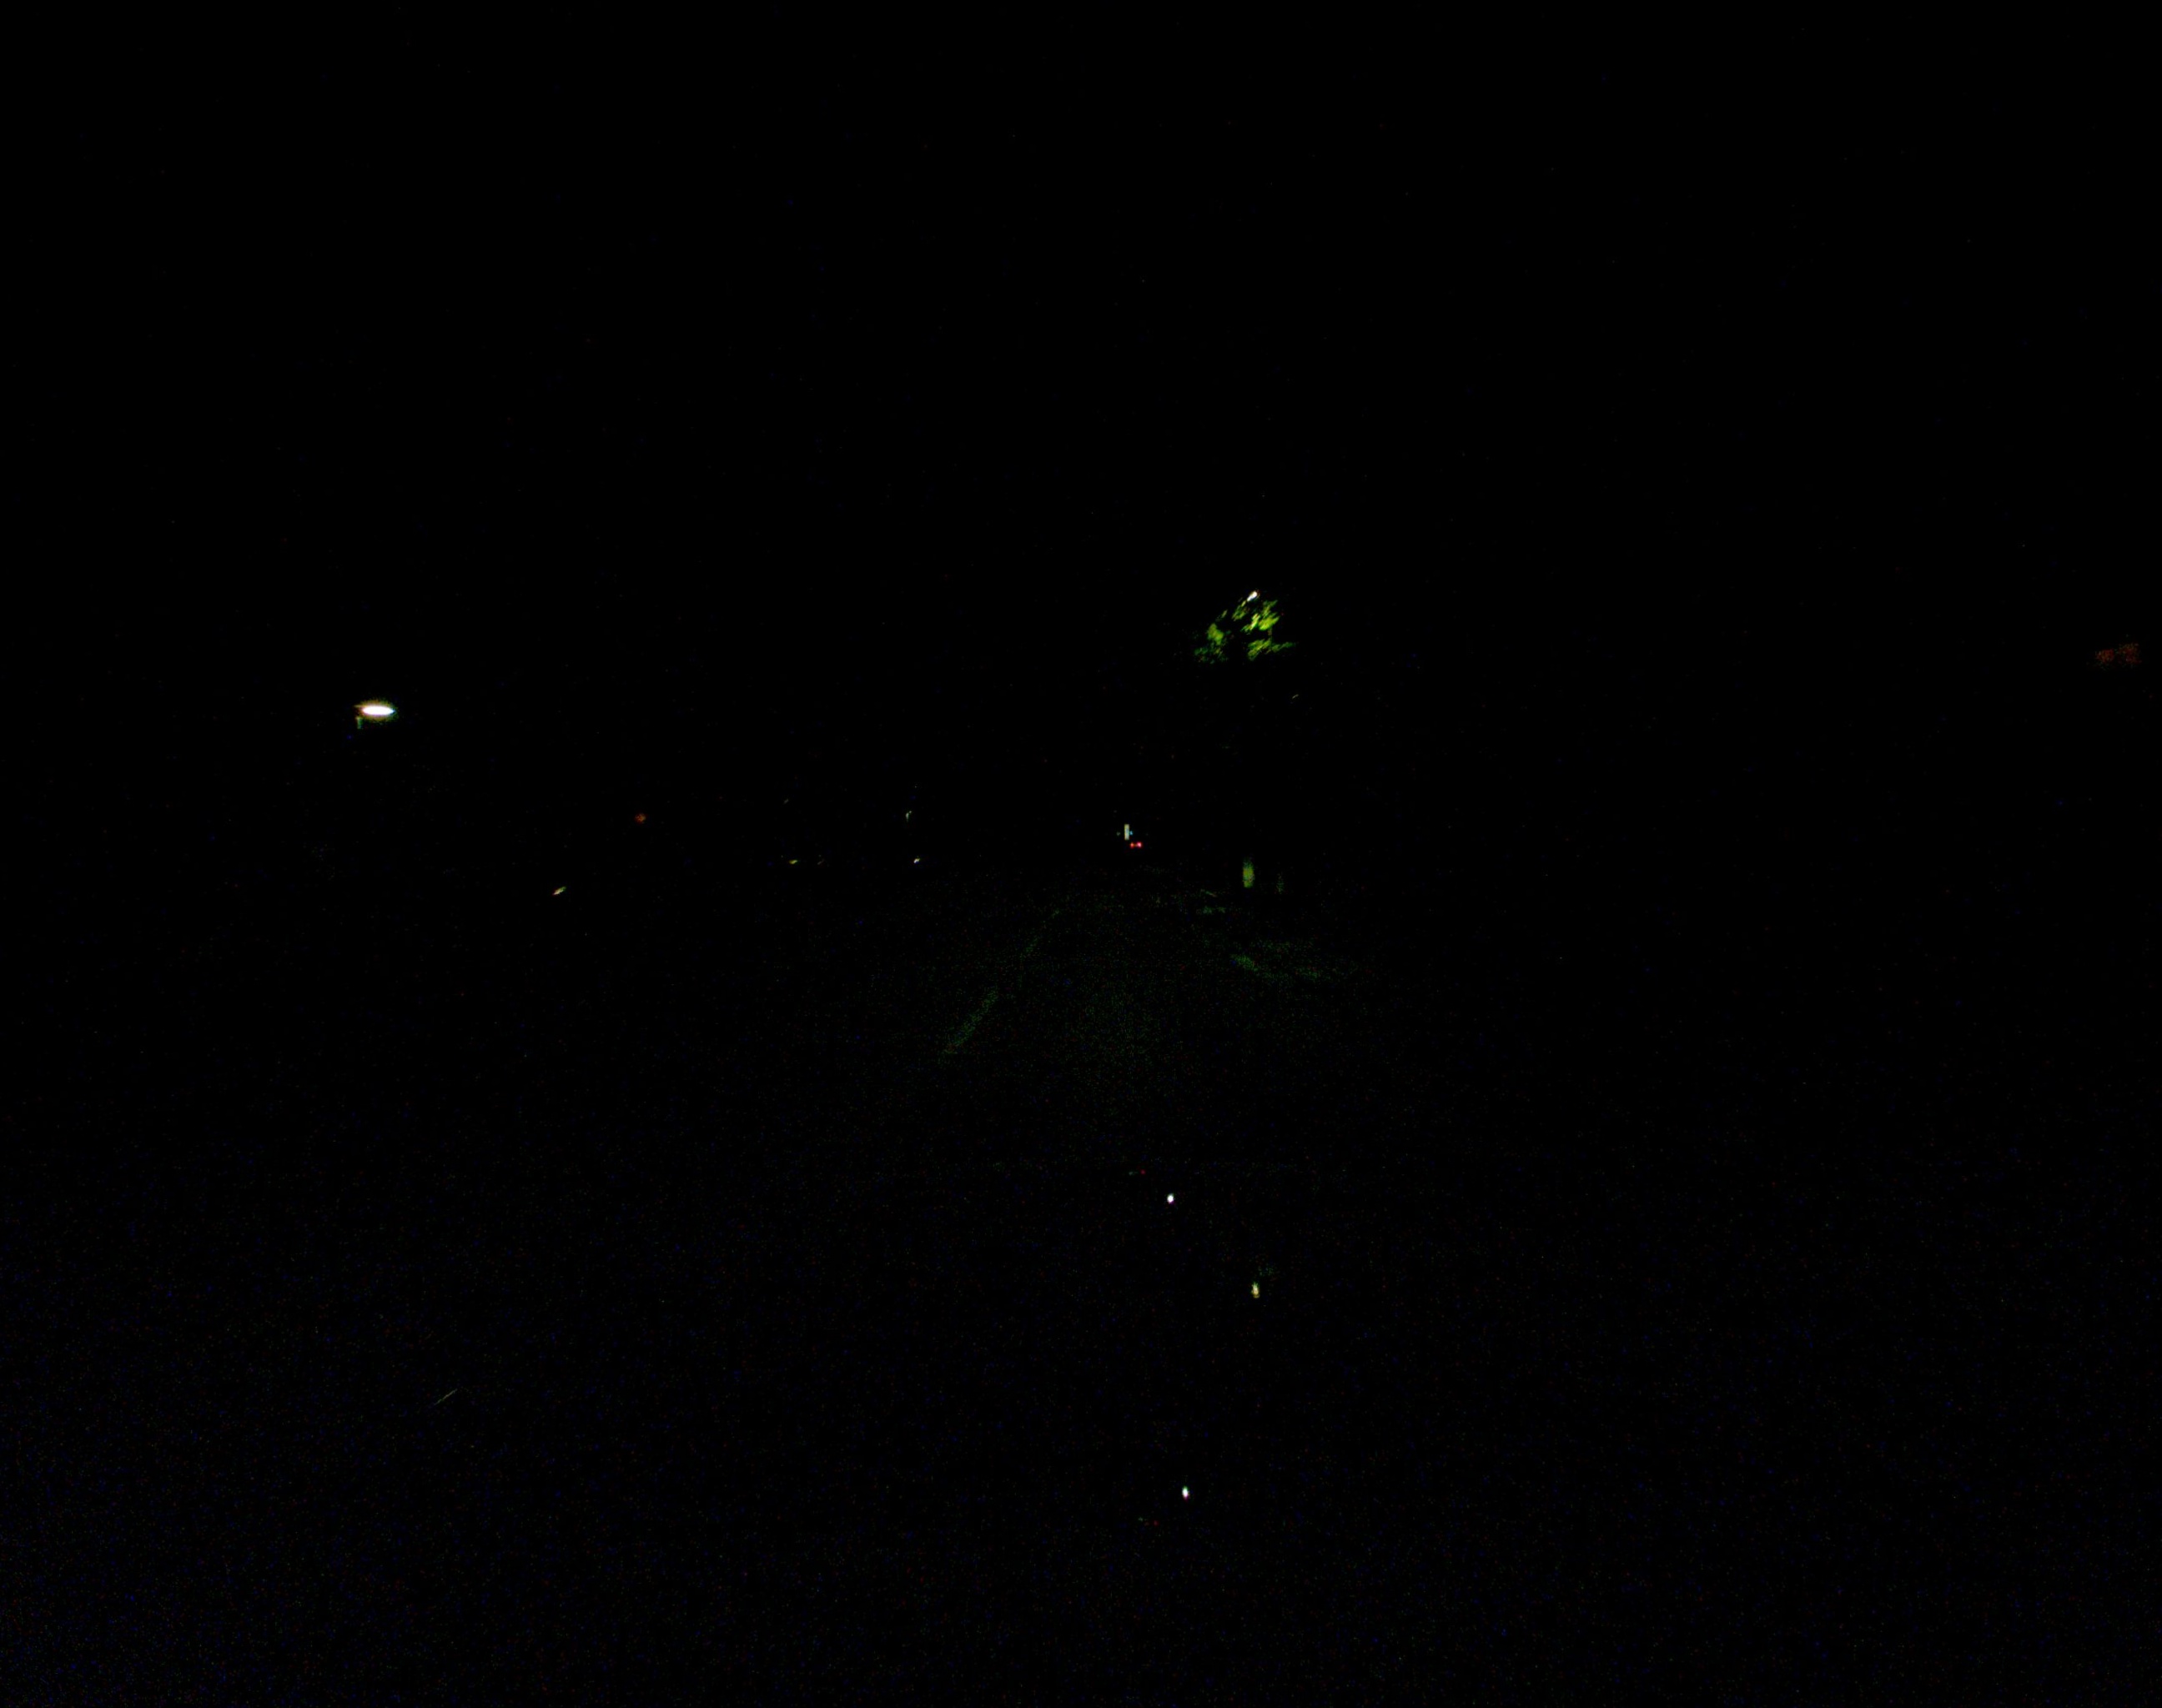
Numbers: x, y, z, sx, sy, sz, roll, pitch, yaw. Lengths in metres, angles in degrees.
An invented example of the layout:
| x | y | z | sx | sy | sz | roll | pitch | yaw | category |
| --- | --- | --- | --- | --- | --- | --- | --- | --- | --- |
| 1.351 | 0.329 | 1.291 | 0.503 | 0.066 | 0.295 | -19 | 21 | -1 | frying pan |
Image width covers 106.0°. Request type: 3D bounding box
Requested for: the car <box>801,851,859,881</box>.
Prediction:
| x | y | z | sx | sy | sz | roll | pitch | yaw | category |
| --- | --- | --- | --- | --- | --- | --- | --- | --- | --- |
| -14.428 | 0.668 | 47.014 | 1.987 | 1.530 | 4.000 | -2 | 1 | 1 | car |

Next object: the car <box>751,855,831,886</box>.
| x | y | z | sx | sy | sz | roll | pitch | yaw | category |
| --- | --- | --- | --- | --- | --- | --- | --- | --- | --- |
| -14.454 | 0.783 | 40.941 | 1.987 | 1.338 | 5.432 | -2 | 0 | 1 | car |

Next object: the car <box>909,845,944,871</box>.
| x | y | z | sx | sy | sz | roll | pitch | yaw | category |
| --- | --- | --- | --- | --- | --- | --- | --- | --- | --- |
| -13.564 | 0.359 | 71.782 | 2.085 | 2.013 | 4.000 | -6 | 1 | 1 | car |

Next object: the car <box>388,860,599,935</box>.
| x | y | z | sx | sy | sz | roll | pitch | yaw | category |
| --- | --- | --- | --- | --- | --- | --- | --- | --- | --- |
| -15.173 | 1.041 | 21.443 | 1.986 | 1.628 | 4.680 | -2 | 0 | 2 | car |

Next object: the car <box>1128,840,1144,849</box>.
| x | y | z | sx | sy | sz | roll | pitch | yaw | category |
| --- | --- | --- | --- | --- | --- | --- | --- | --- | --- |
| 9.465 | -1.603 | 140.172 | 2.148 | 1.583 | 4.025 | -1 | 0 | 10 | car |
